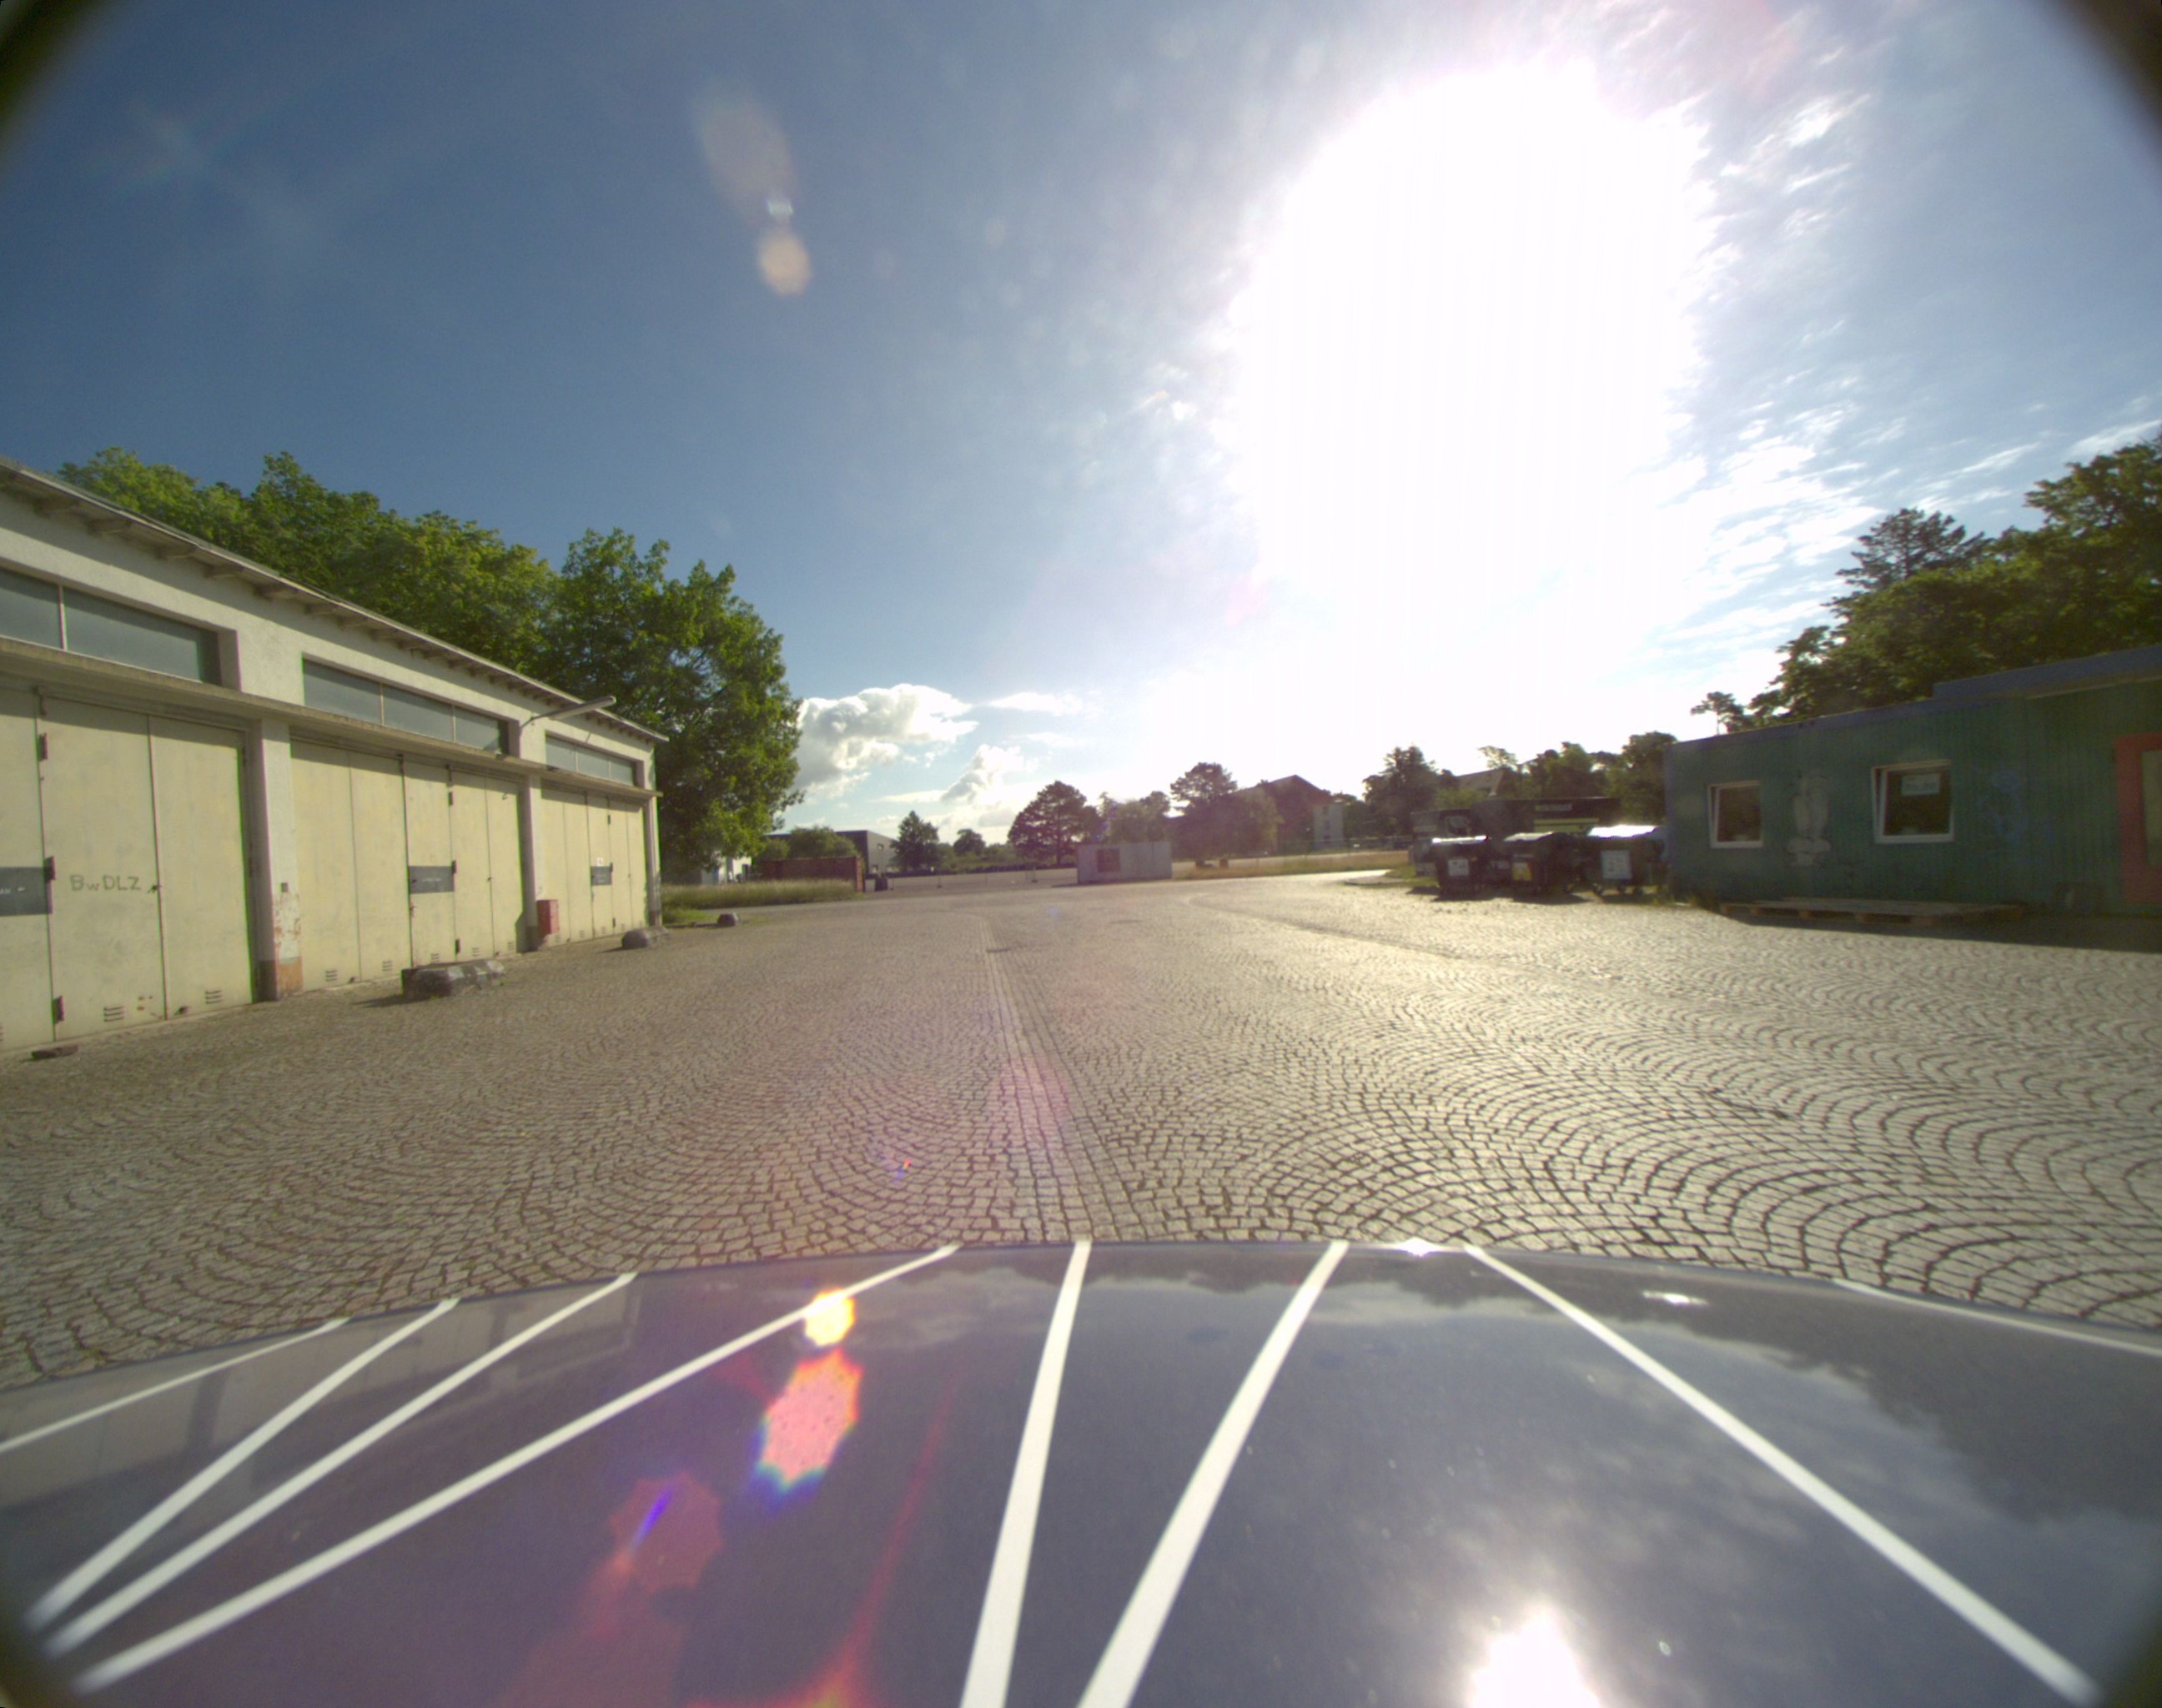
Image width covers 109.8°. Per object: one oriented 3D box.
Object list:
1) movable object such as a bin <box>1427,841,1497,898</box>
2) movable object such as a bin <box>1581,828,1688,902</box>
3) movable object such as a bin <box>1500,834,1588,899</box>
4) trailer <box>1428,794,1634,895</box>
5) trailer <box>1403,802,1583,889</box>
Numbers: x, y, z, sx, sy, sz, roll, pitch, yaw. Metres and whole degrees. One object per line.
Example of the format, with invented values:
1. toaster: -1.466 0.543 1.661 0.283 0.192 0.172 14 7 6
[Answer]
1. movable object such as a bin: 9.801 0.390 19.536 1.361 1.377 1.049 -3 0 39
2. movable object such as a bin: 11.662 0.229 16.056 1.089 1.428 1.407 -3 0 -20
3. movable object such as a bin: 10.618 0.288 17.485 1.084 1.377 1.368 -3 0 -5
4. trailer: 12.459 -0.283 21.127 4.856 2.377 1.941 -4 1 -14
5. trailer: 12.701 -0.265 23.564 4.468 2.260 2.012 -4 1 -8
